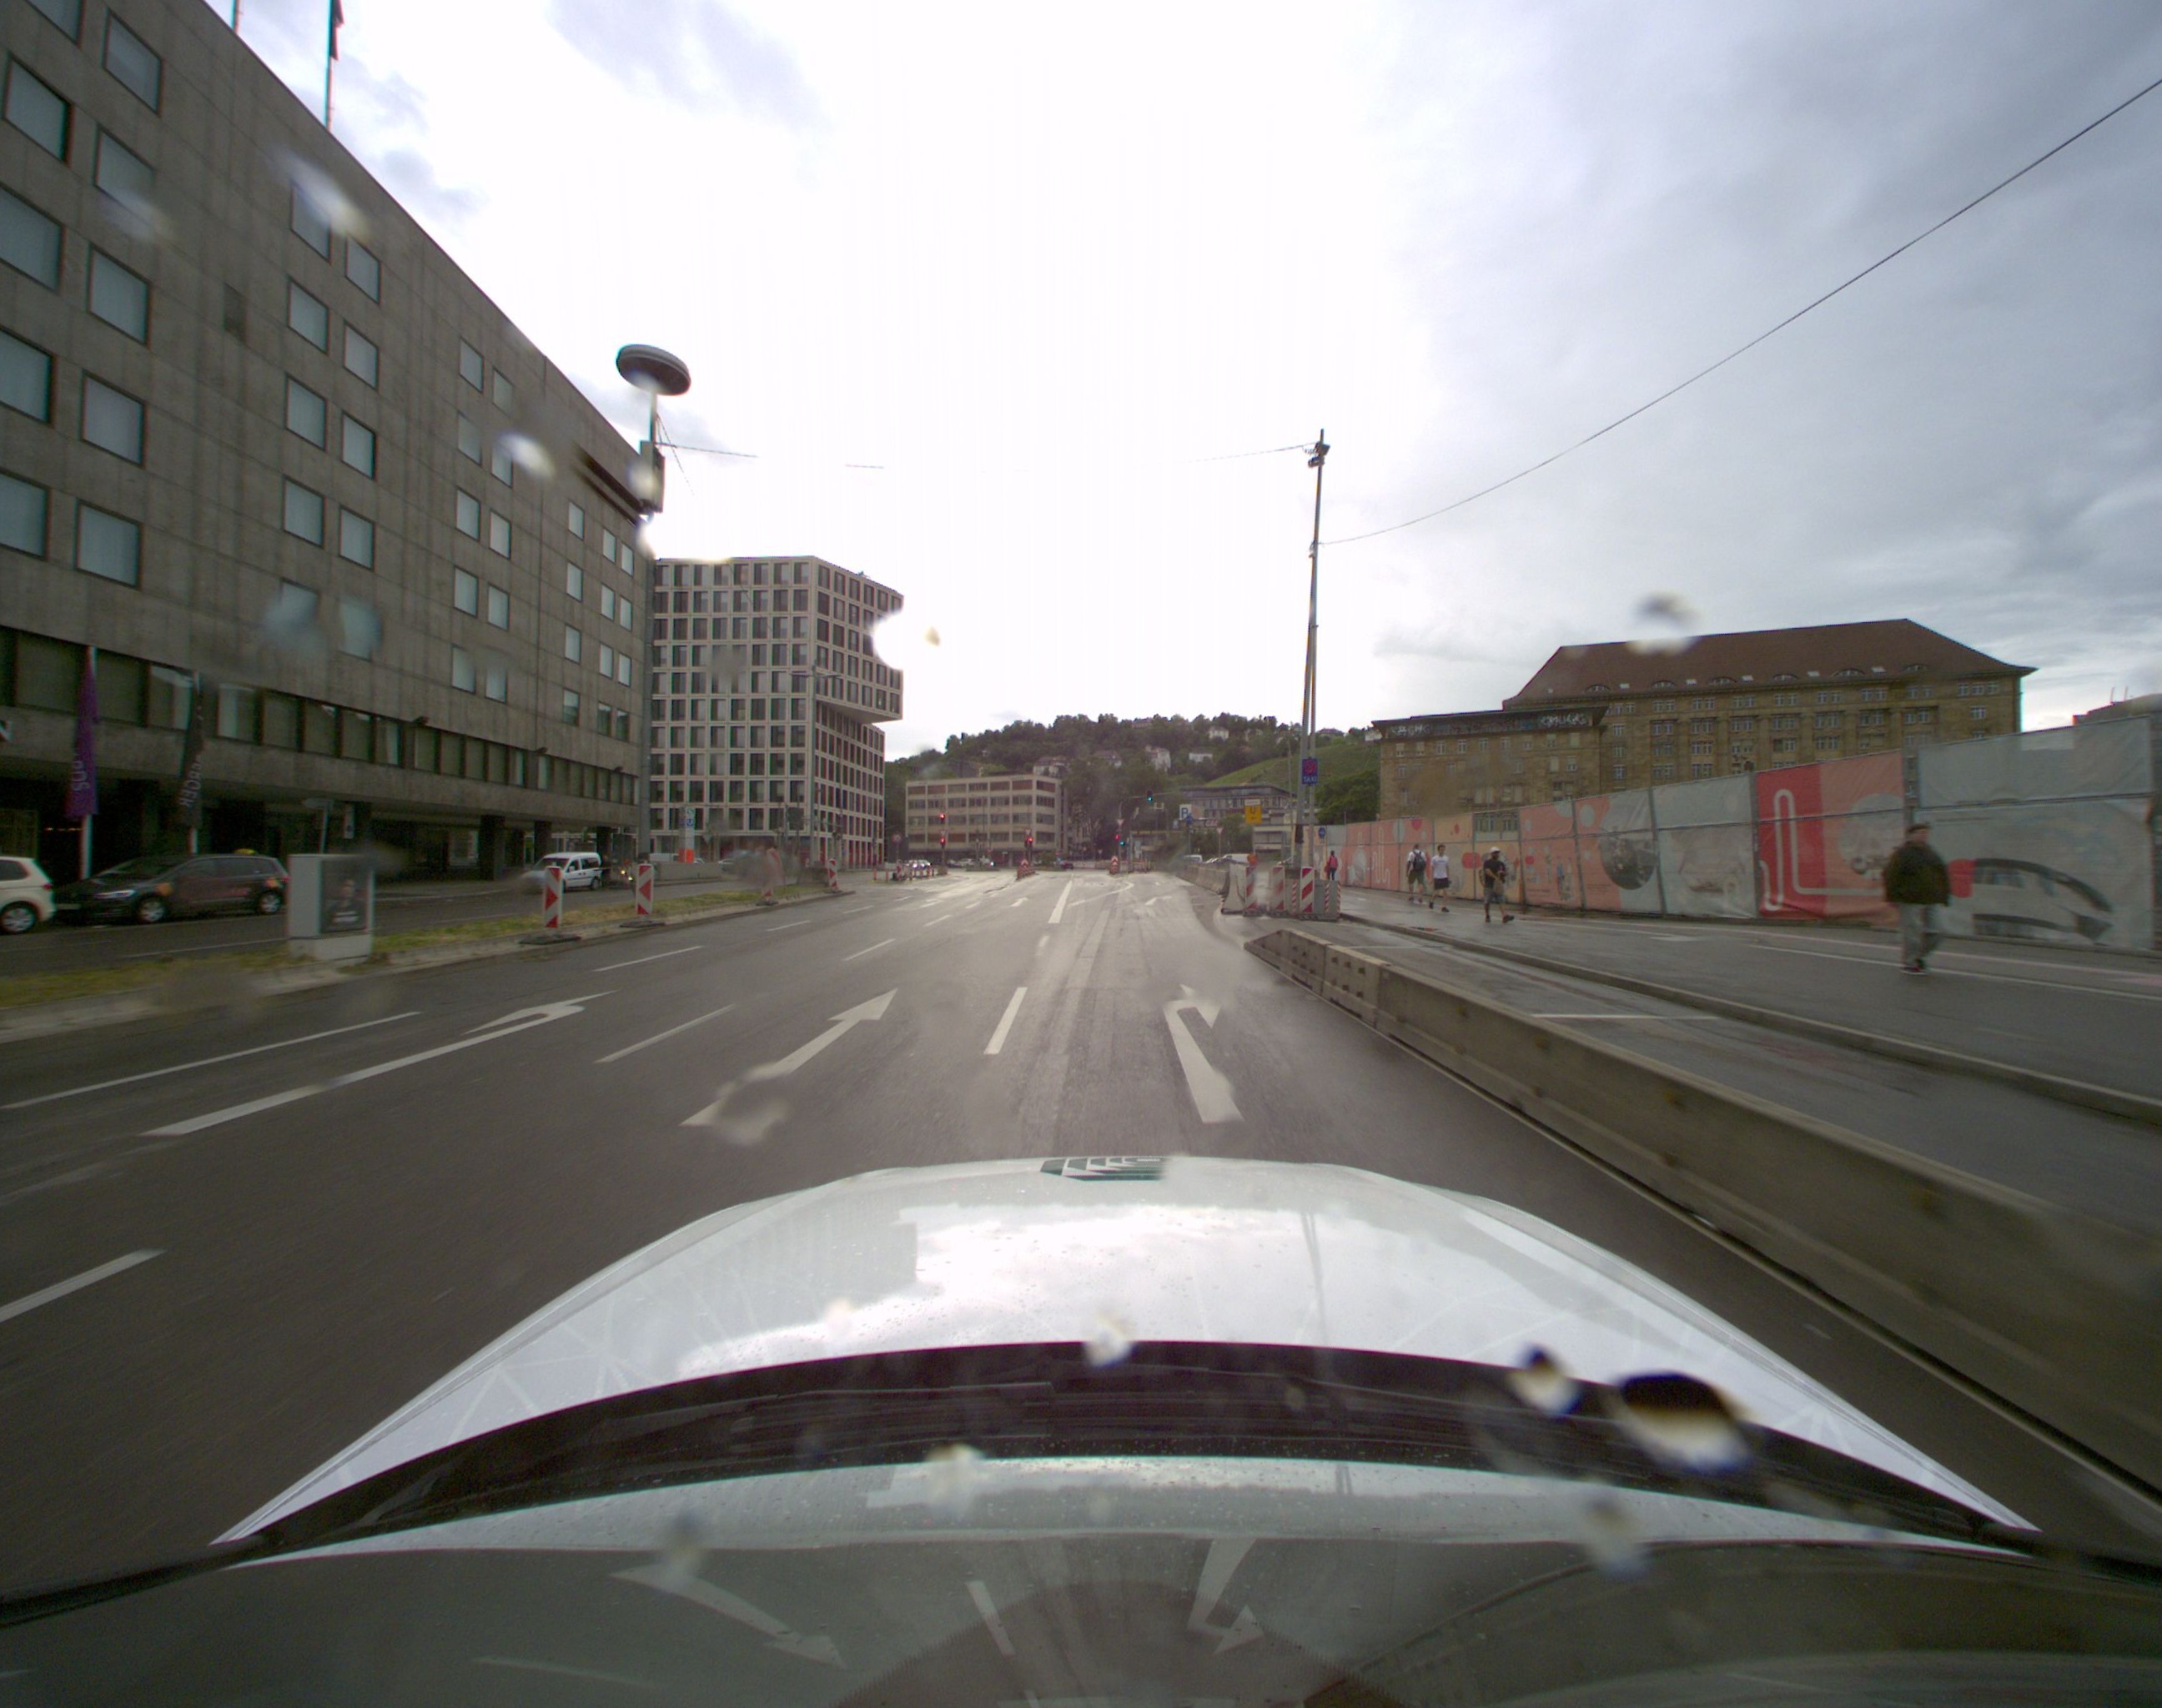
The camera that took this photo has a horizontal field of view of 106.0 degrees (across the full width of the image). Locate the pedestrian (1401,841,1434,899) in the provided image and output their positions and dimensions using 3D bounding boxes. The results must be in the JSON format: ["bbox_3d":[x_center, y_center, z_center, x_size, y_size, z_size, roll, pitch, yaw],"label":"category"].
[{"bbox_3d":[11.090,0.522,26.888,0.701,1.866,0.990,0,0,2],"label":"pedestrian"}]

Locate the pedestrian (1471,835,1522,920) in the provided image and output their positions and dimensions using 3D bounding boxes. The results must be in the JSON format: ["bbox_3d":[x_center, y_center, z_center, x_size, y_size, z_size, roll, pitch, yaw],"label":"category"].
[{"bbox_3d":[8.770,0.488,17.221,0.640,1.740,0.837,0,0,0],"label":"pedestrian"}]

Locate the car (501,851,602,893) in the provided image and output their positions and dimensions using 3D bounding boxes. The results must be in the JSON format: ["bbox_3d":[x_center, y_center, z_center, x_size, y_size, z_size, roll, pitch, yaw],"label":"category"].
[{"bbox_3d":[-23.302,0.748,36.045,1.770,1.762,4.367,0,0,-3],"label":"car"}]

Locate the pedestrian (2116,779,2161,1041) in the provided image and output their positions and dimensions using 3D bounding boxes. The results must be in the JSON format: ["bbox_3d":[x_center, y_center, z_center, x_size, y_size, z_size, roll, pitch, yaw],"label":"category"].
[{"bbox_3d":[8.126,0.400,5.776,0.681,1.889,0.694,0,0,2],"label":"pedestrian"}]

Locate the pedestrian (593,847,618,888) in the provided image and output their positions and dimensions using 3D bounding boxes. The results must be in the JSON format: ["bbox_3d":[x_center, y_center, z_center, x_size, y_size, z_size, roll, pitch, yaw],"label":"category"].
[{"bbox_3d":[-22.125,0.622,37.902,0.690,1.886,0.795,0,0,-4],"label":"pedestrian"}]

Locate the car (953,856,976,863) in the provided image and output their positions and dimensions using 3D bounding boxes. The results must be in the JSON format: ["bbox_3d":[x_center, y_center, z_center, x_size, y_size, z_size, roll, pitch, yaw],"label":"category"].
[{"bbox_3d":[-22.396,1.056,156.406,4.026,1.492,1.746,0,0,27],"label":"car"}]

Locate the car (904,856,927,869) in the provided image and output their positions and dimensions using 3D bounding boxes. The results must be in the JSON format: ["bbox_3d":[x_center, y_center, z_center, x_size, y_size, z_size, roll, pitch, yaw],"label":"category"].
[{"bbox_3d":[-23.248,1.140,114.546,2.215,1.753,4.812,-1,-1,0],"label":"car"}]

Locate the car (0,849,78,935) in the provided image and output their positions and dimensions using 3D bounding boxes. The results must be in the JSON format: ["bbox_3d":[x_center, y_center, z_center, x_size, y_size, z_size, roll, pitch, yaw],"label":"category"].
[{"bbox_3d":[-22.198,0.756,15.026,1.812,1.698,4.573,0,0,-3],"label":"car"}]

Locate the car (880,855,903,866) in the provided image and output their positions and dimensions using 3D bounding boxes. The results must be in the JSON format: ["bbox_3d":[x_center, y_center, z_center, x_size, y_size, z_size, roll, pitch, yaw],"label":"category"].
[{"bbox_3d":[-31.999,1.041,137.772,3.949,1.816,1.817,0,0,40],"label":"car"}]

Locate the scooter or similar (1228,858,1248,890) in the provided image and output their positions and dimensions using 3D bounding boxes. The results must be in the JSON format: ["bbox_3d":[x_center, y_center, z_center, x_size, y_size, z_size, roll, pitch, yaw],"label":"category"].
[{"bbox_3d":[6.207,0.768,32.223,0.671,1.214,1.574,0,0,6],"label":"scooter or similar"}]

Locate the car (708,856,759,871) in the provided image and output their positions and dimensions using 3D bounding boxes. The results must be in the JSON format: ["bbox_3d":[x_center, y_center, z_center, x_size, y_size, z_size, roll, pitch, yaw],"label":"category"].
[{"bbox_3d":[-37.104,0.997,87.062,4.620,1.598,2.023,0,0,9],"label":"car"}]

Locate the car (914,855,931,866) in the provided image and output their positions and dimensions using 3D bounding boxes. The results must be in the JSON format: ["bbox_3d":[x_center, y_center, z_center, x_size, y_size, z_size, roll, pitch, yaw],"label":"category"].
[{"bbox_3d":[-27.394,1.137,140.825,1.810,1.816,3.964,0,0,-28],"label":"car"}]

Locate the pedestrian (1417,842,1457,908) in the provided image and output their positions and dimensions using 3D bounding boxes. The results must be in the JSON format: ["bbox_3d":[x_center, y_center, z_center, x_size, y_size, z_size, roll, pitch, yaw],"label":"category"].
[{"bbox_3d":[9.557,0.551,21.883,0.681,1.740,0.907,0,0,-1],"label":"pedestrian"}]

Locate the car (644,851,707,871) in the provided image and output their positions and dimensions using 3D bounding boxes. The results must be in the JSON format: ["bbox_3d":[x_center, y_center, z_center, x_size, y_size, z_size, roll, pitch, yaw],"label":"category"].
[{"bbox_3d":[-38.637,0.663,77.630,5.041,1.904,2.092,0,0,7],"label":"car"}]

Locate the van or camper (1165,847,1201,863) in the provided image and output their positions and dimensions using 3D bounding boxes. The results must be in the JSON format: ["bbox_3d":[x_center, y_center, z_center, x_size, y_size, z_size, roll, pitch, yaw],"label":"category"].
[{"bbox_3d":[12.599,0.117,100.713,4.230,1.979,1.850,0,0,-1],"label":"van or camper"}]

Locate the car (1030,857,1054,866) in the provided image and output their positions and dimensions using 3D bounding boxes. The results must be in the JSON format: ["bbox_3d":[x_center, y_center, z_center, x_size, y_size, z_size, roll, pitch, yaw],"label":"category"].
[{"bbox_3d":[-6.690,1.241,139.842,4.025,1.492,1.747,0,0,37],"label":"car"}]

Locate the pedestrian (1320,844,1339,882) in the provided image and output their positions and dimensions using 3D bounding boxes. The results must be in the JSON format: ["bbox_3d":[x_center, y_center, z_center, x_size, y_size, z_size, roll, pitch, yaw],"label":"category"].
[{"bbox_3d":[12.378,0.426,40.579,0.717,1.866,0.709,0,0,-1],"label":"pedestrian"}]

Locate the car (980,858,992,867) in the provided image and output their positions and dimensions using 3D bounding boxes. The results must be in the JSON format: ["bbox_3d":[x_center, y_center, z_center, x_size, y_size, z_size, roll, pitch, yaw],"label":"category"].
[{"bbox_3d":[-15.148,1.319,130.160,1.829,1.486,3.989,0,0,-8],"label":"car"}]

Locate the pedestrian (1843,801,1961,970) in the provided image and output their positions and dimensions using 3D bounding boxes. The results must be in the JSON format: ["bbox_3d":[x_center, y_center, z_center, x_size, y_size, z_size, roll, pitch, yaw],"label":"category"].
[{"bbox_3d":[9.521,0.349,9.468,0.681,1.889,0.693,0,0,-1],"label":"pedestrian"}]

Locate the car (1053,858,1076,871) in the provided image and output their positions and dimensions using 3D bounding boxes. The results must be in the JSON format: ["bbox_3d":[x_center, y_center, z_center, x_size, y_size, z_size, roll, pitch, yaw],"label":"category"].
[{"bbox_3d":[-2.598,1.571,127.233,2.004,2.013,3.965,0,0,-27],"label":"car"}]

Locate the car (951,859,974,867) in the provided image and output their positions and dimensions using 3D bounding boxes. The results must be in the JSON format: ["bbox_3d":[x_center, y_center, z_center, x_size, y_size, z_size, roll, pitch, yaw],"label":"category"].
[{"bbox_3d":[-20.540,1.542,141.388,3.949,1.486,1.848,0,0,40],"label":"car"}]

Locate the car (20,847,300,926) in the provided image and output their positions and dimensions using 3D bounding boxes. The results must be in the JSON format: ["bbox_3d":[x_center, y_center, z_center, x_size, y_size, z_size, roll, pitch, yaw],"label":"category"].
[{"bbox_3d":[-22.505,0.728,20.243,1.810,1.728,4.513,0,0,-1],"label":"car"}]

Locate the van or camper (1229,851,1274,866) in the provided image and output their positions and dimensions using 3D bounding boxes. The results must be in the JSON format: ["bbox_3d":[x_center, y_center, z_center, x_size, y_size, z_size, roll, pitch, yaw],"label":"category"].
[{"bbox_3d":[21.009,0.546,100.350,5.180,1.894,1.887,0,0,-1],"label":"van or camper"}]
